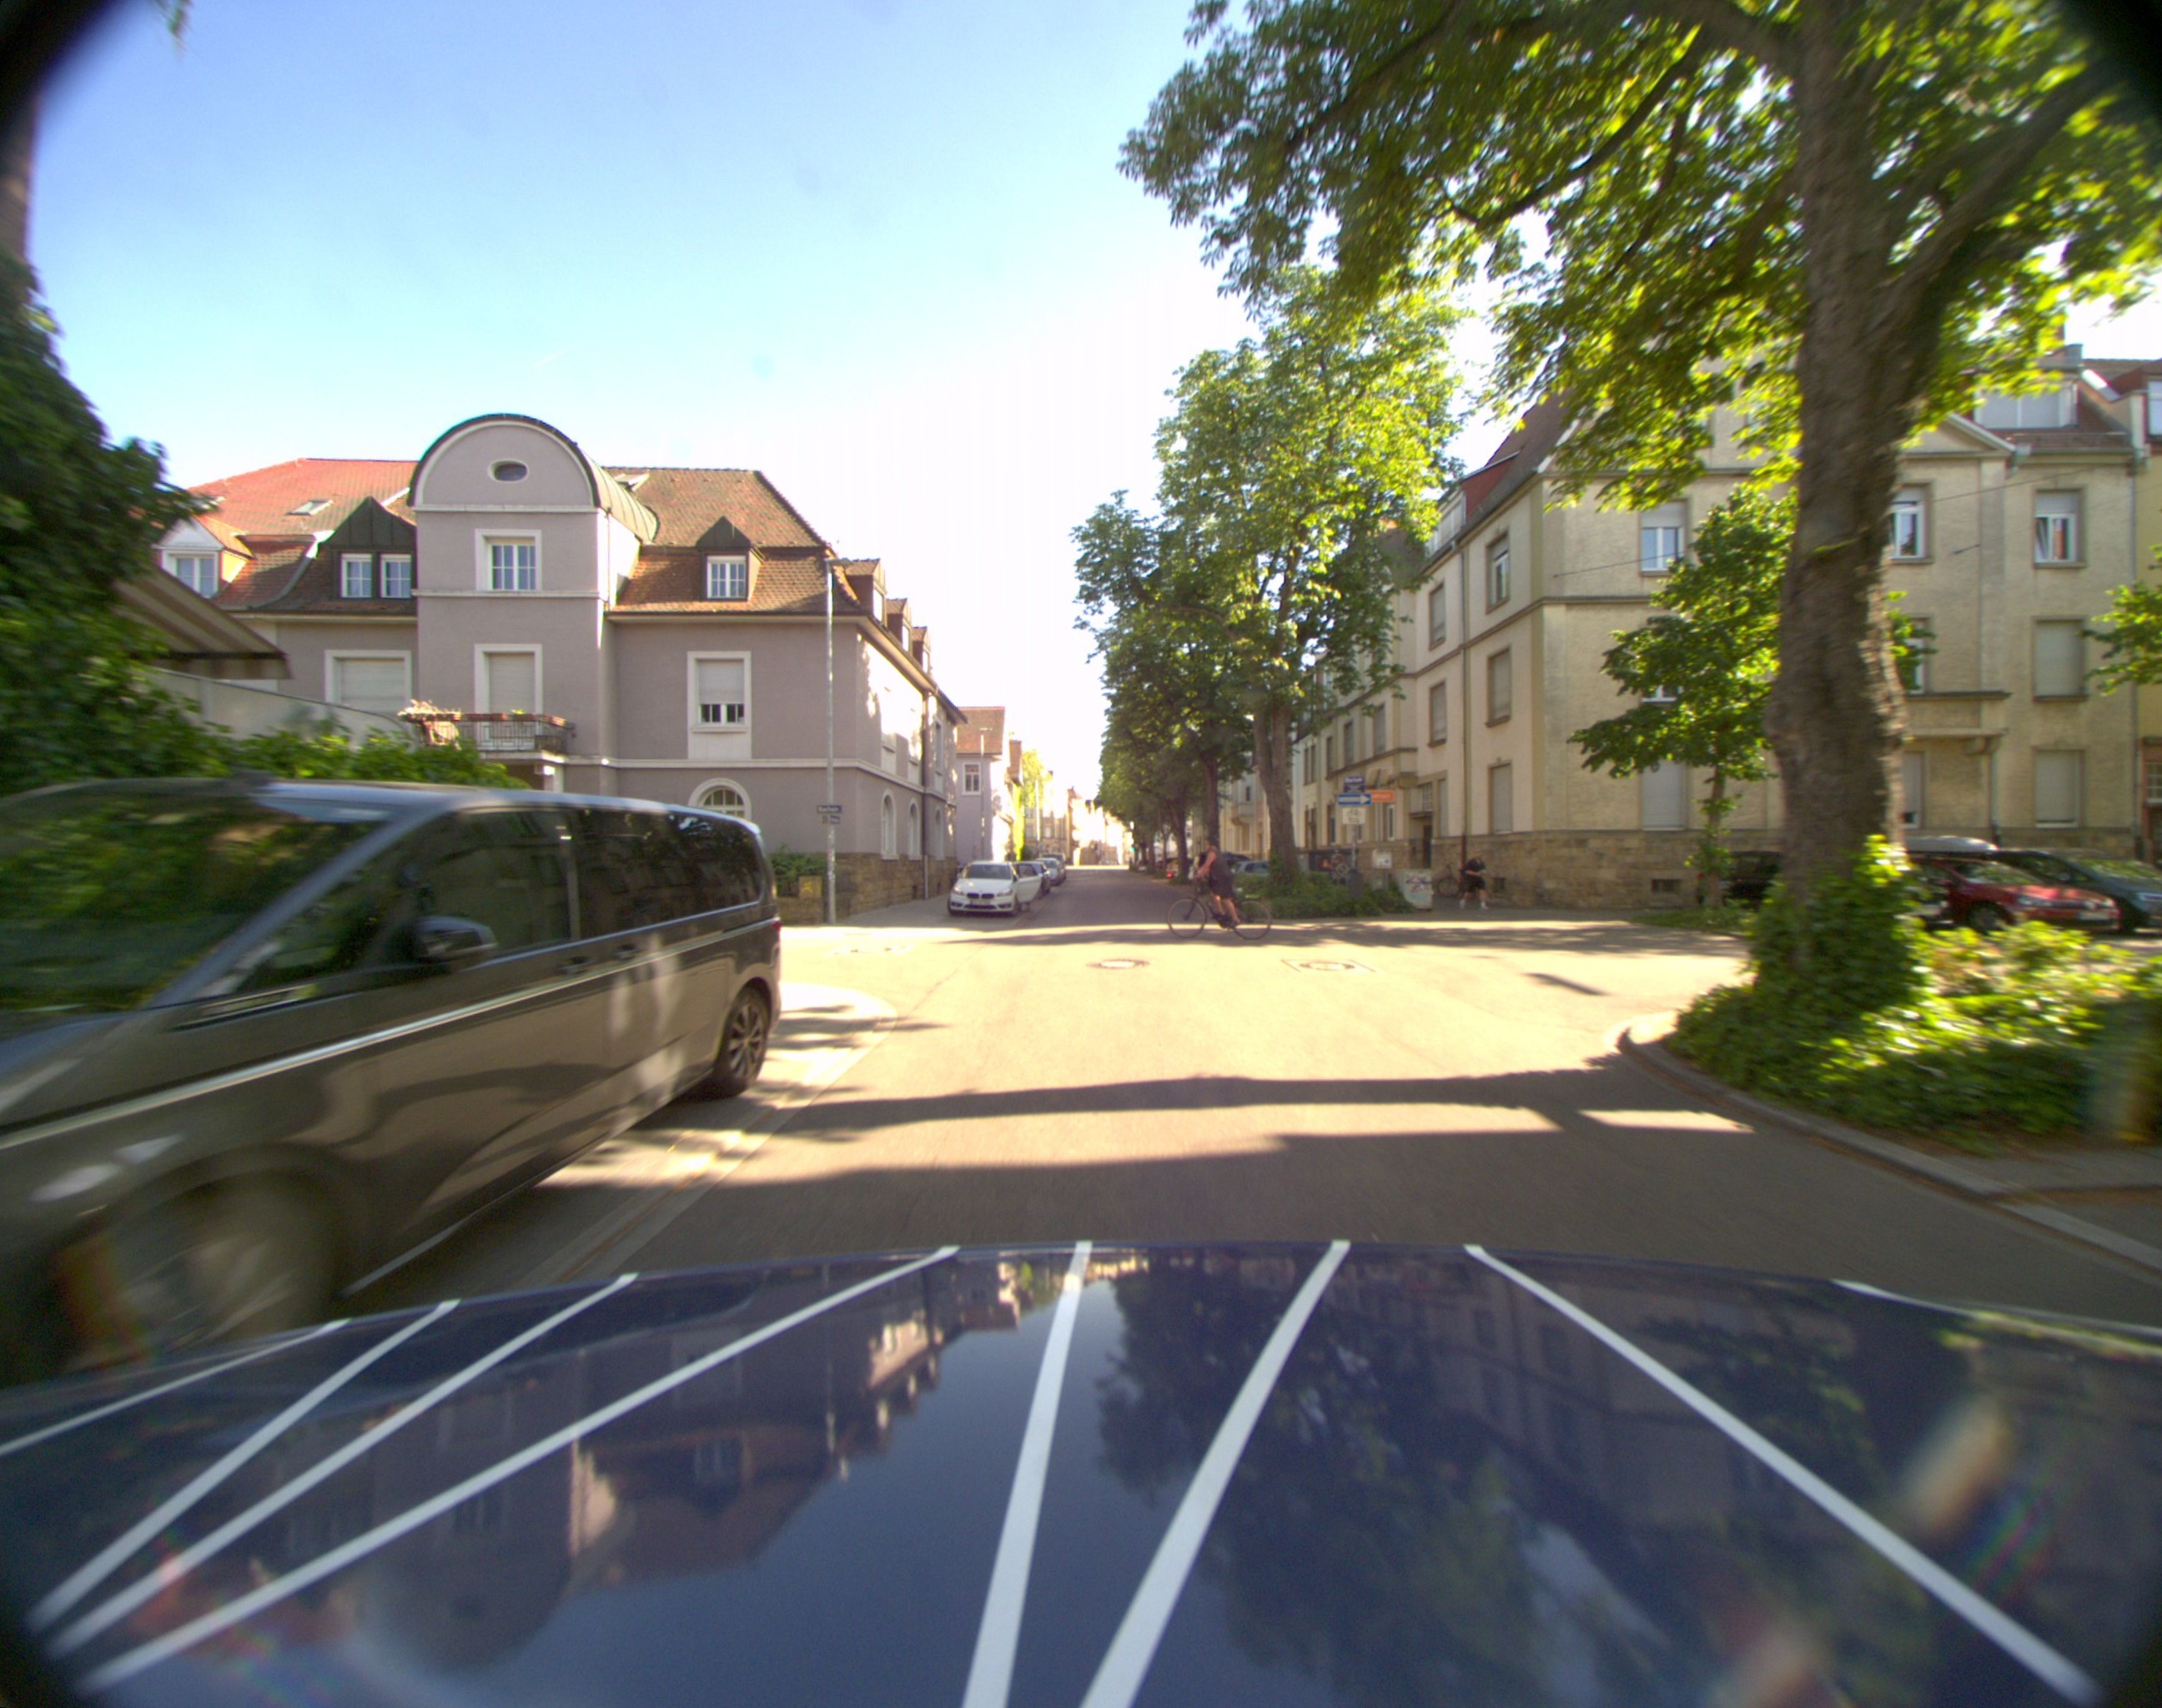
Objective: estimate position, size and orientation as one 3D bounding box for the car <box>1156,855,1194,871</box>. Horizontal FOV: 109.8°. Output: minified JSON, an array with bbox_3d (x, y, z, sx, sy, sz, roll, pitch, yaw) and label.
[{"bbox_3d":[9.077,0.851,73.497,3.496,1.420,1.542,-1,0,0],"label":"car"}]

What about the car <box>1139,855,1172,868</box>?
[{"bbox_3d":[8.441,0.833,86.299,3.496,1.420,1.542,-1,0,0],"label":"car"}]

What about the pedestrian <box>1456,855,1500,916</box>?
[{"bbox_3d":[10.692,0.834,20.485,0.667,1.598,0.979,-1,0,1],"label":"pedestrian"}]

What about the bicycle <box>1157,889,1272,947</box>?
[{"bbox_3d":[2.333,1.123,13.411,1.919,0.981,0.595,0,0,0],"label":"bicycle"}]

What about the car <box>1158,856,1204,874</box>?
[{"bbox_3d":[7.957,0.887,60.747,3.496,1.420,1.542,-1,0,0],"label":"car"}]

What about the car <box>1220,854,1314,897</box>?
[{"bbox_3d":[8.444,0.984,34.505,3.992,1.752,2.002,-2,1,15],"label":"car"}]

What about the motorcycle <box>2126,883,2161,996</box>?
[{"bbox_3d":[12.841,0.947,8.160,1.842,1.232,0.590,0,0,26],"label":"motorcycle"}]

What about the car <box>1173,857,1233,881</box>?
[{"bbox_3d":[7.548,0.913,47.294,3.496,1.484,1.441,0,0,0],"label":"car"}]

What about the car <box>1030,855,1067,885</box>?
[{"bbox_3d":[-1.913,0.940,45.497,1.822,1.634,4.161,-2,0,2],"label":"car"}]

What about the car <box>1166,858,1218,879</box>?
[{"bbox_3d":[7.894,1.010,54.150,3.496,1.421,1.542,-1,0,0],"label":"car"}]

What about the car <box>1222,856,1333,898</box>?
[{"bbox_3d":[7.600,0.887,29.745,3.994,1.424,1.804,-2,1,8],"label":"car"}]

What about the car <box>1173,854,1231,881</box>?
[{"bbox_3d":[7.804,0.842,49.208,3.496,1.681,1.461,-1,0,0],"label":"car"}]

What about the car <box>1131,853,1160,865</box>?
[{"bbox_3d":[7.970,0.652,94.688,3.496,1.420,1.542,-1,0,0],"label":"car"}]

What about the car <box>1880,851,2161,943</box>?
[{"bbox_3d":[20.169,0.776,16.148,1.790,1.645,4.418,0,1,2],"label":"car"}]

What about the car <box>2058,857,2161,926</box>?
[{"bbox_3d":[24.399,0.843,16.050,1.869,1.476,4.418,0,1,2],"label":"car"}]

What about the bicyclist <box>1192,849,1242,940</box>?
[{"bbox_3d":[2.390,0.692,13.408,0.737,1.562,0.755,-1,1,0],"label":"bicyclist"}]

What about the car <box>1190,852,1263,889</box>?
[{"bbox_3d":[7.541,0.832,39.675,3.496,1.882,1.821,0,0,0],"label":"car"}]

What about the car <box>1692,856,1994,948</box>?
[{"bbox_3d":[15.321,0.864,15.725,1.869,1.545,4.417,0,1,2],"label":"car"}]

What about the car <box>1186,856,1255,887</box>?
[{"bbox_3d":[7.620,0.940,41.676,3.496,1.681,1.682,0,0,0],"label":"car"}]

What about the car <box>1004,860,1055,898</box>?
[{"bbox_3d":[-2.237,1.067,34.237,1.822,1.529,4.161,-2,0,2],"label":"car"}]

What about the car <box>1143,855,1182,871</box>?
[{"bbox_3d":[7.629,0.872,70.994,3.496,1.420,1.542,-1,0,0],"label":"car"}]

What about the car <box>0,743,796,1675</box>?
[{"bbox_3d":[-3.093,0.719,3.218,1.857,1.898,4.851,0,0,1],"label":"car"}]

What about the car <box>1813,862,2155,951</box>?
[{"bbox_3d":[17.800,0.933,15.391,1.869,1.433,4.281,0,1,2],"label":"car"}]

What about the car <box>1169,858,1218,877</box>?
[{"bbox_3d":[8.618,1.019,58.376,3.496,1.421,1.542,-1,0,0],"label":"car"}]

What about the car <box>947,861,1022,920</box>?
[{"bbox_3d":[-2.746,0.996,22.483,1.814,1.546,4.105,0,0,-2],"label":"car"}]

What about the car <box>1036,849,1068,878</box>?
[{"bbox_3d":[-2.089,0.668,55.954,1.998,1.904,4.000,-2,1,2],"label":"car"}]
